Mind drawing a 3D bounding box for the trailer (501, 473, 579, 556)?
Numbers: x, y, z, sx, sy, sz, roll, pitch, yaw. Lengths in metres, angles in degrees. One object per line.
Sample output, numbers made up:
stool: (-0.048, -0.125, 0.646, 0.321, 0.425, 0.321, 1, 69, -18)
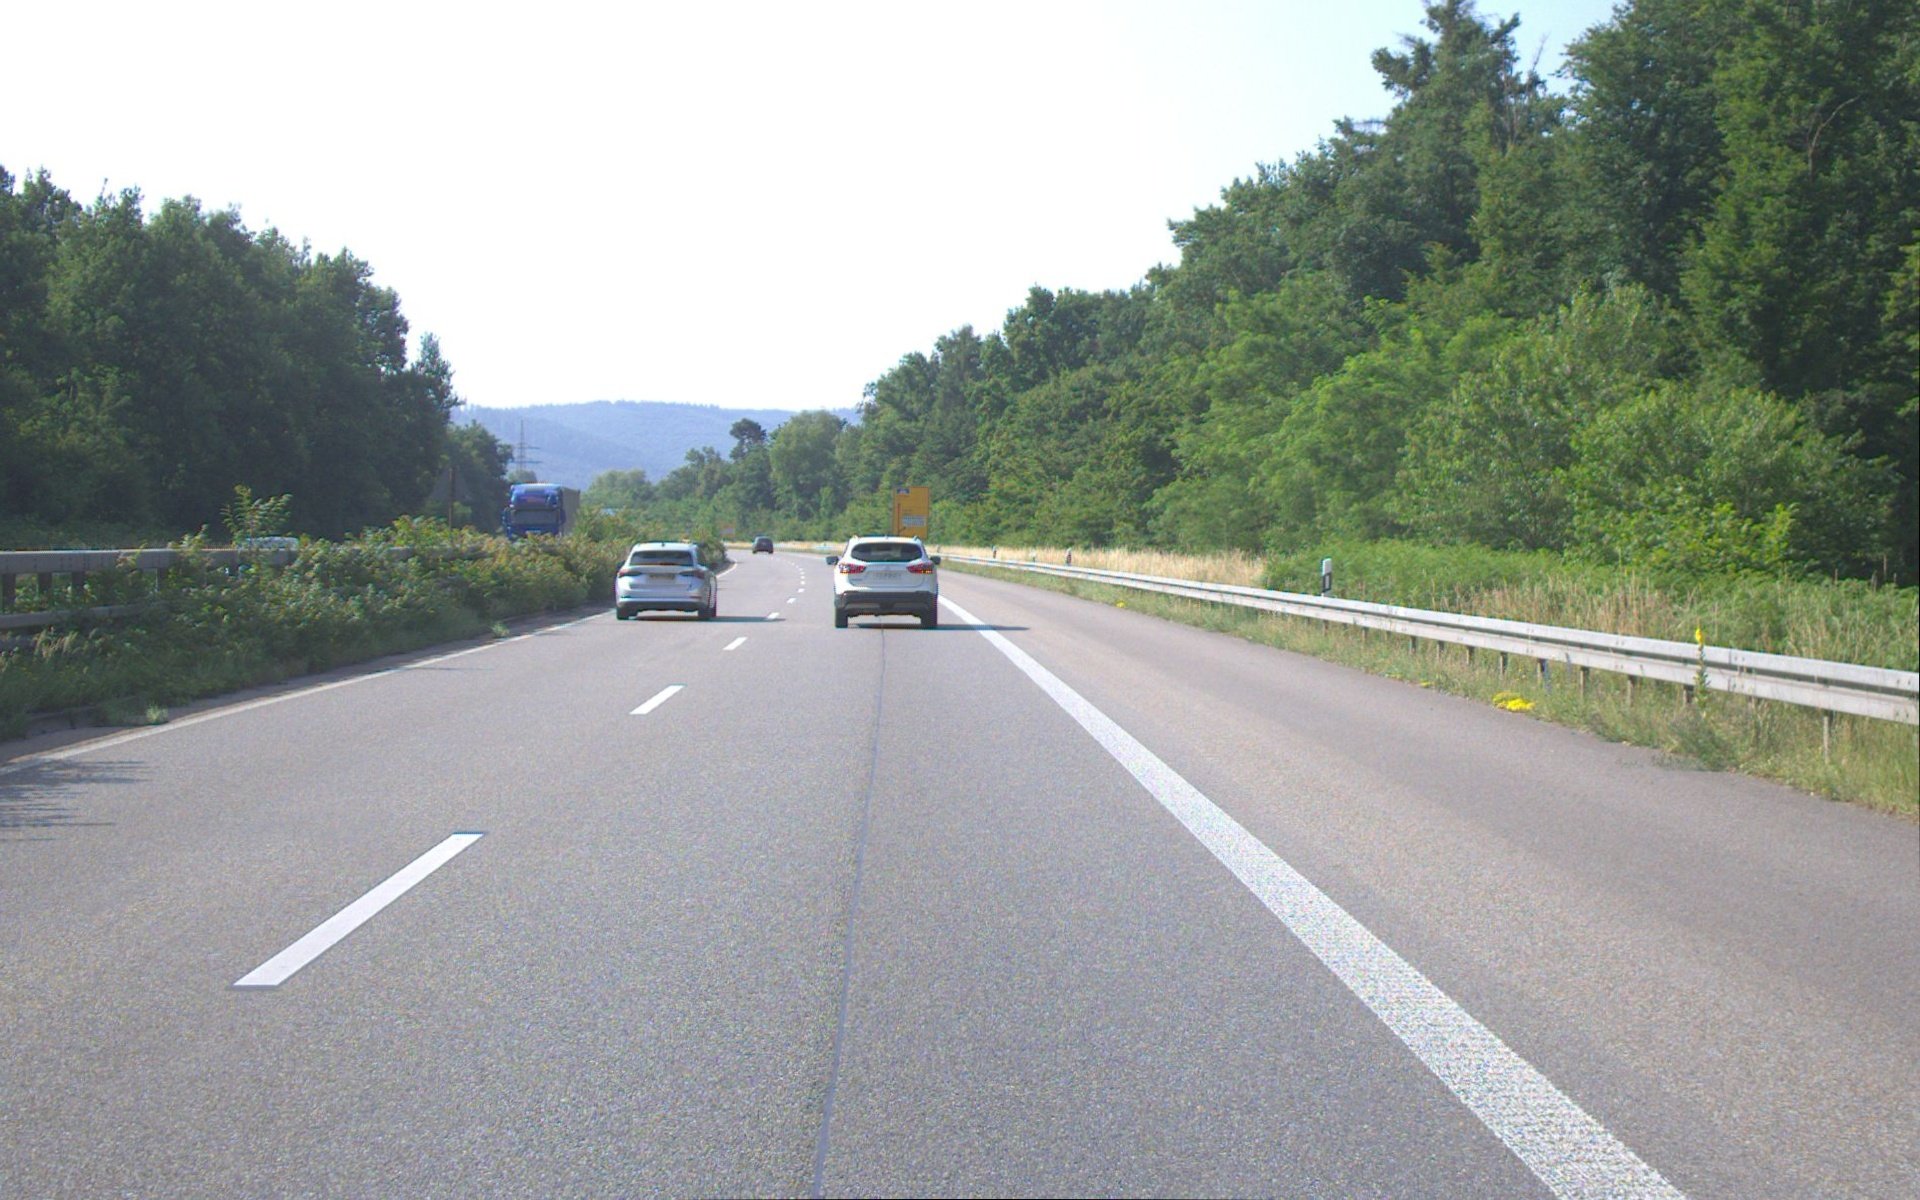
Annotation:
trailer: (-20.968, -4.266, 172.137, 2.831, 3.985, 11.435, 1, 1, -2)

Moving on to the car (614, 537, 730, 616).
car: (-5.508, -0.484, 66.249, 1.792, 1.433, 5.279, 0, 1, 0)

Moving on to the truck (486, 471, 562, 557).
truck: (-20.756, -4.083, 164.157, 2.784, 3.985, 8.417, 1, 1, -2)

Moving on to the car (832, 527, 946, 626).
car: (-1.275, -0.439, 60.790, 1.873, 1.580, 4.001, 2, 1, -2)
